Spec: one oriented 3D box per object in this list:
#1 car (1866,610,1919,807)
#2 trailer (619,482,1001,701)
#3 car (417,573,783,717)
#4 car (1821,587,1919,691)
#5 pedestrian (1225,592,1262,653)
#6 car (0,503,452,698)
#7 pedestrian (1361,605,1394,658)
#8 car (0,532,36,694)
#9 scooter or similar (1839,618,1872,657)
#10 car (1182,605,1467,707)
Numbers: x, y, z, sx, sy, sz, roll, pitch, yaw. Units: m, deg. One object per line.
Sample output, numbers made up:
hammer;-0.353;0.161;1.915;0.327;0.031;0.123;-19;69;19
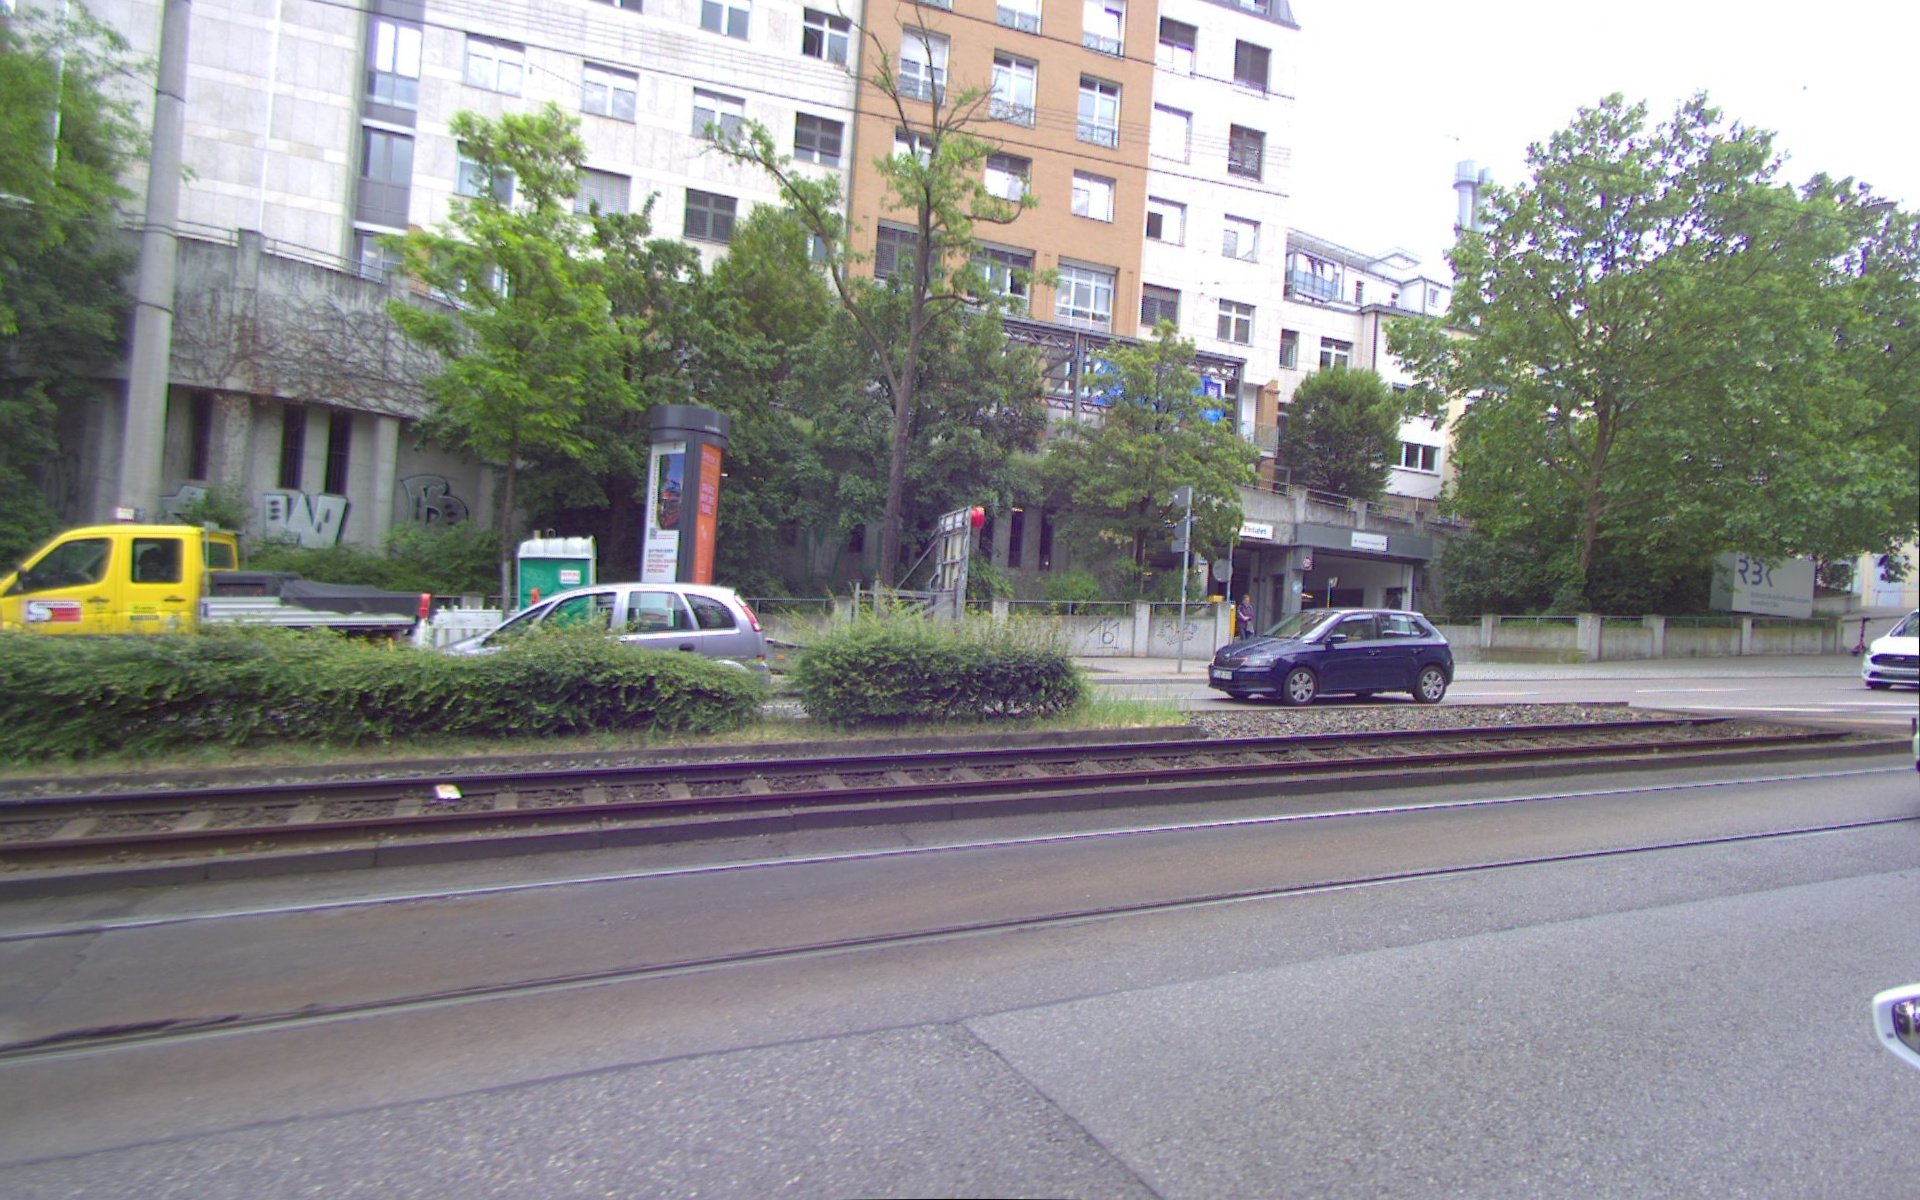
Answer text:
car;9.470;0.844;7.962;4.556;1.474;1.872;1;0;-26
trailer;-2.303;-0.092;15.583;5.498;3.013;2.019;1;1;-16
car;-3.998;0.486;11.564;3.679;1.462;1.658;1;-1;-17
car;20.292;0.754;20.456;4.924;1.972;1.946;0;0;-19
pedestrian;7.496;0.588;26.607;0.647;1.581;0.727;1;-1;-17
car;-11.385;0.041;15.296;6.239;2.628;2.154;1;-1;-20
pedestrian;15.325;1.147;36.906;0.780;1.937;0.812;1;-1;-17
car;-11.697;0.100;9.018;4.537;1.626;1.992;1;-1;-19
scooter or similar;29.164;1.216;32.710;1.627;1.235;0.485;1;2;-38
car;5.649;0.822;15.608;4.021;1.426;1.764;1;-1;-21
